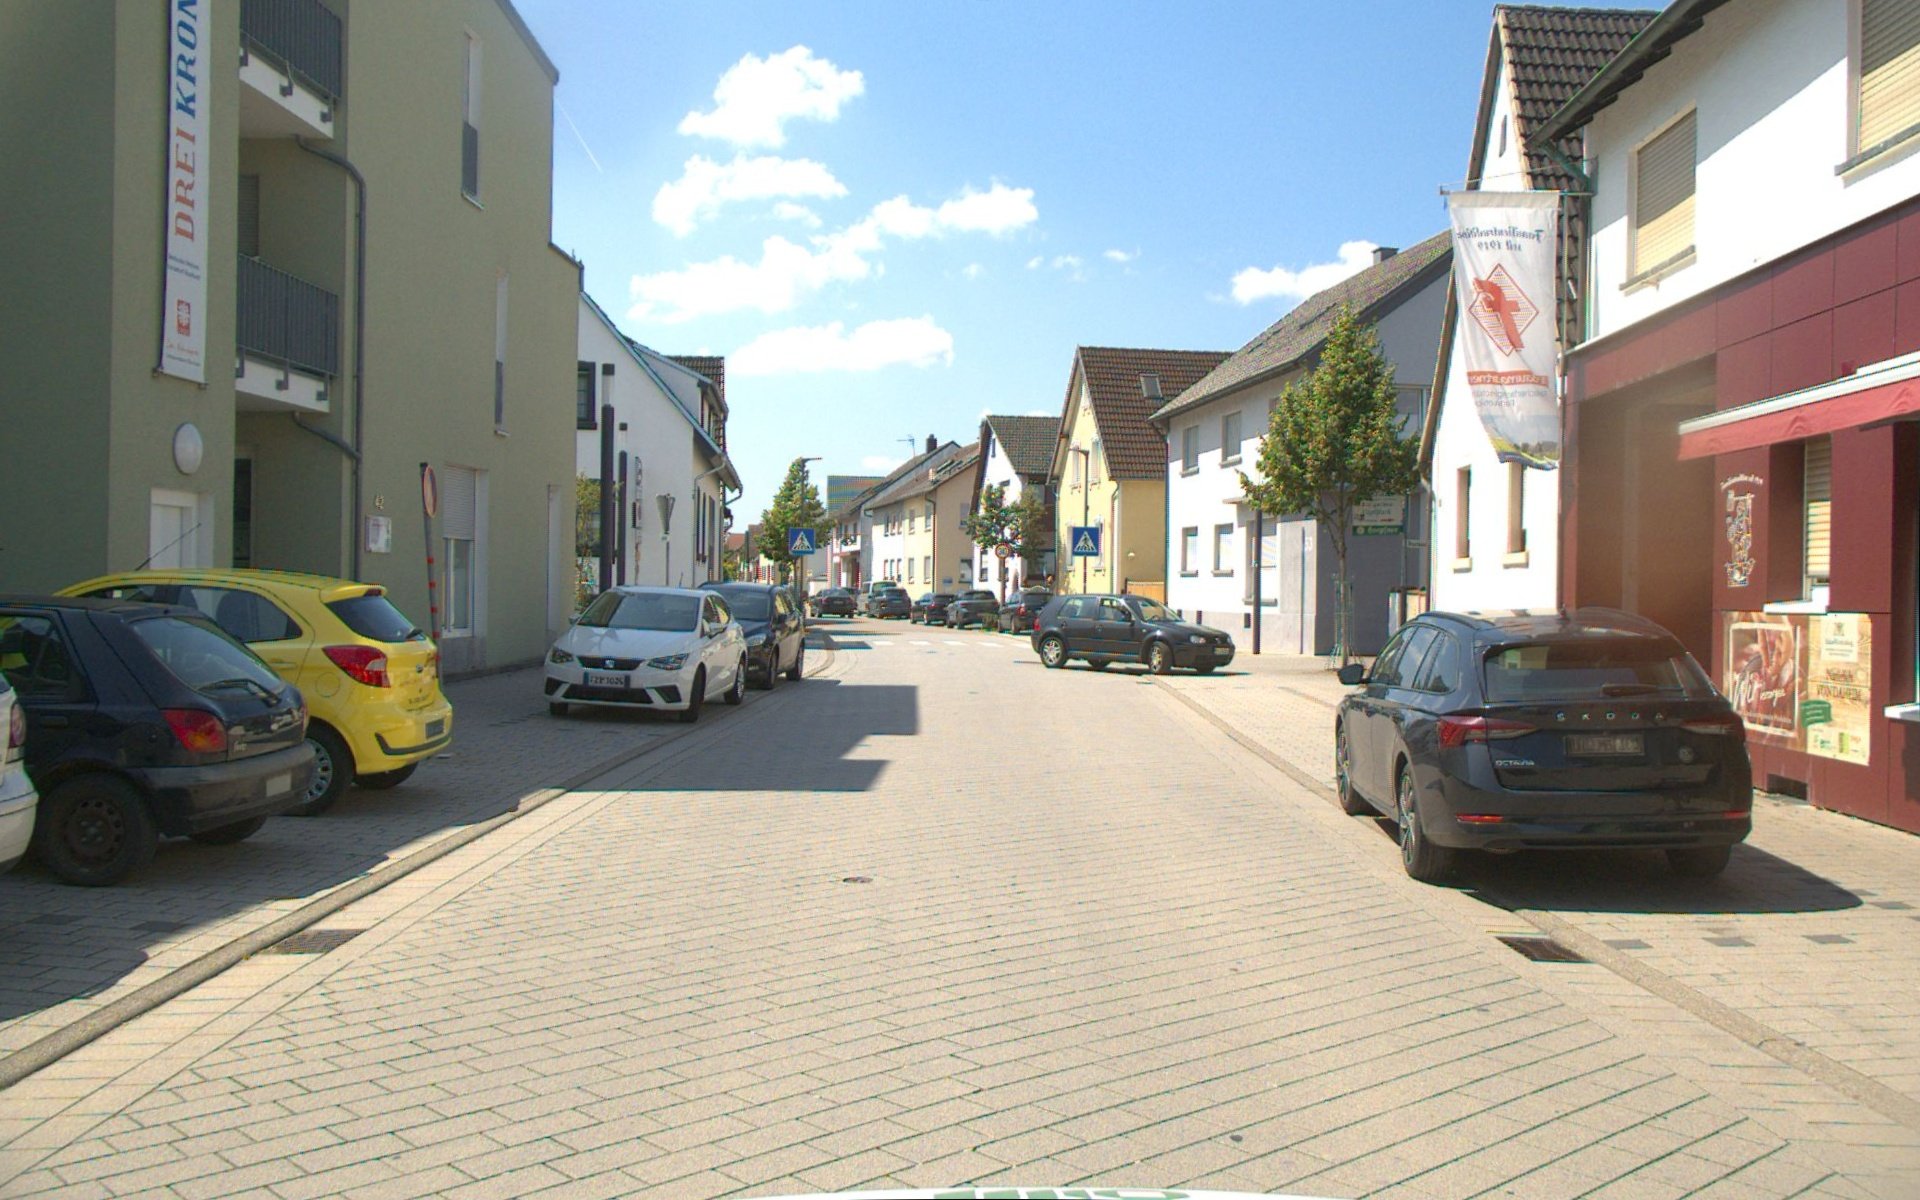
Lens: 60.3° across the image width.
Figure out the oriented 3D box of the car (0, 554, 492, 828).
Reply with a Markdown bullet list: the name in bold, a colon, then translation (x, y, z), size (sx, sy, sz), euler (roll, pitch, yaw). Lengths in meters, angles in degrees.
- **car**: translation (-5.301, 0.545, 11.308), size (3.615, 1.551, 1.673), euler (3, 0, 3)

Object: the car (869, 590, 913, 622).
- **car**: translation (-3.685, 0.313, 87.851), size (1.843, 1.619, 3.991), euler (0, 0, -9)

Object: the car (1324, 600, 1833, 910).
- **car**: translation (3.527, 0.767, 10.400), size (1.819, 1.484, 4.589), euler (-1, 0, 5)

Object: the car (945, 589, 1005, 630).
- **car**: translation (0.585, 0.347, 66.849), size (1.812, 1.590, 3.685), euler (0, 0, -9)

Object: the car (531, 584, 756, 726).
- **car**: translation (-3.642, 0.577, 19.705), size (1.721, 1.435, 3.879), euler (3, 0, 2)

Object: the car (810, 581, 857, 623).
- **car**: translation (-6.489, 0.079, 84.337), size (1.957, 2.094, 4.364), euler (0, 0, -10)

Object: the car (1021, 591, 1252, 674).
- **car**: translation (3.308, 0.580, 31.354), size (4.037, 1.463, 1.758), euler (0, 0, 37)

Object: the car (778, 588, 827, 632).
- **car**: translation (-5.961, 0.350, 62.202), size (1.714, 1.556, 3.994), euler (2, 0, -7)

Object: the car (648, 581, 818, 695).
- **car**: translation (-3.366, 0.521, 25.293), size (1.776, 1.516, 4.279), euler (3, 0, 2)

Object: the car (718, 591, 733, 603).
- **car**: translation (-30.261, -0.352, 213.169), size (1.658, 1.478, 3.782), euler (0, 0, -12)

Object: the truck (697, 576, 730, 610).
- **truck**: translation (-29.858, -0.852, 200.084), size (3.502, 4.023, 8.555), euler (0, 0, -12)

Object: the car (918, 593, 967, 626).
- **car**: translation (-0.803, 0.406, 74.509), size (1.679, 1.411, 3.698), euler (0, 0, -9)

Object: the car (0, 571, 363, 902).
- **car**: translation (-5.494, 0.580, 8.833), size (3.905, 1.466, 1.692), euler (4, 0, 2)

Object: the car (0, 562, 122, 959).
- **car**: translation (-5.617, 0.520, 6.377), size (3.820, 1.528, 1.752), euler (4, 0, 4)

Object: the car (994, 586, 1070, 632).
- **car**: translation (2.458, 0.306, 57.524), size (1.795, 1.497, 4.267), euler (-1, 0, -9)

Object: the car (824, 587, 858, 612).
- **car**: translation (-7.407, -0.030, 102.570), size (1.722, 1.519, 3.991), euler (0, 0, -9)
